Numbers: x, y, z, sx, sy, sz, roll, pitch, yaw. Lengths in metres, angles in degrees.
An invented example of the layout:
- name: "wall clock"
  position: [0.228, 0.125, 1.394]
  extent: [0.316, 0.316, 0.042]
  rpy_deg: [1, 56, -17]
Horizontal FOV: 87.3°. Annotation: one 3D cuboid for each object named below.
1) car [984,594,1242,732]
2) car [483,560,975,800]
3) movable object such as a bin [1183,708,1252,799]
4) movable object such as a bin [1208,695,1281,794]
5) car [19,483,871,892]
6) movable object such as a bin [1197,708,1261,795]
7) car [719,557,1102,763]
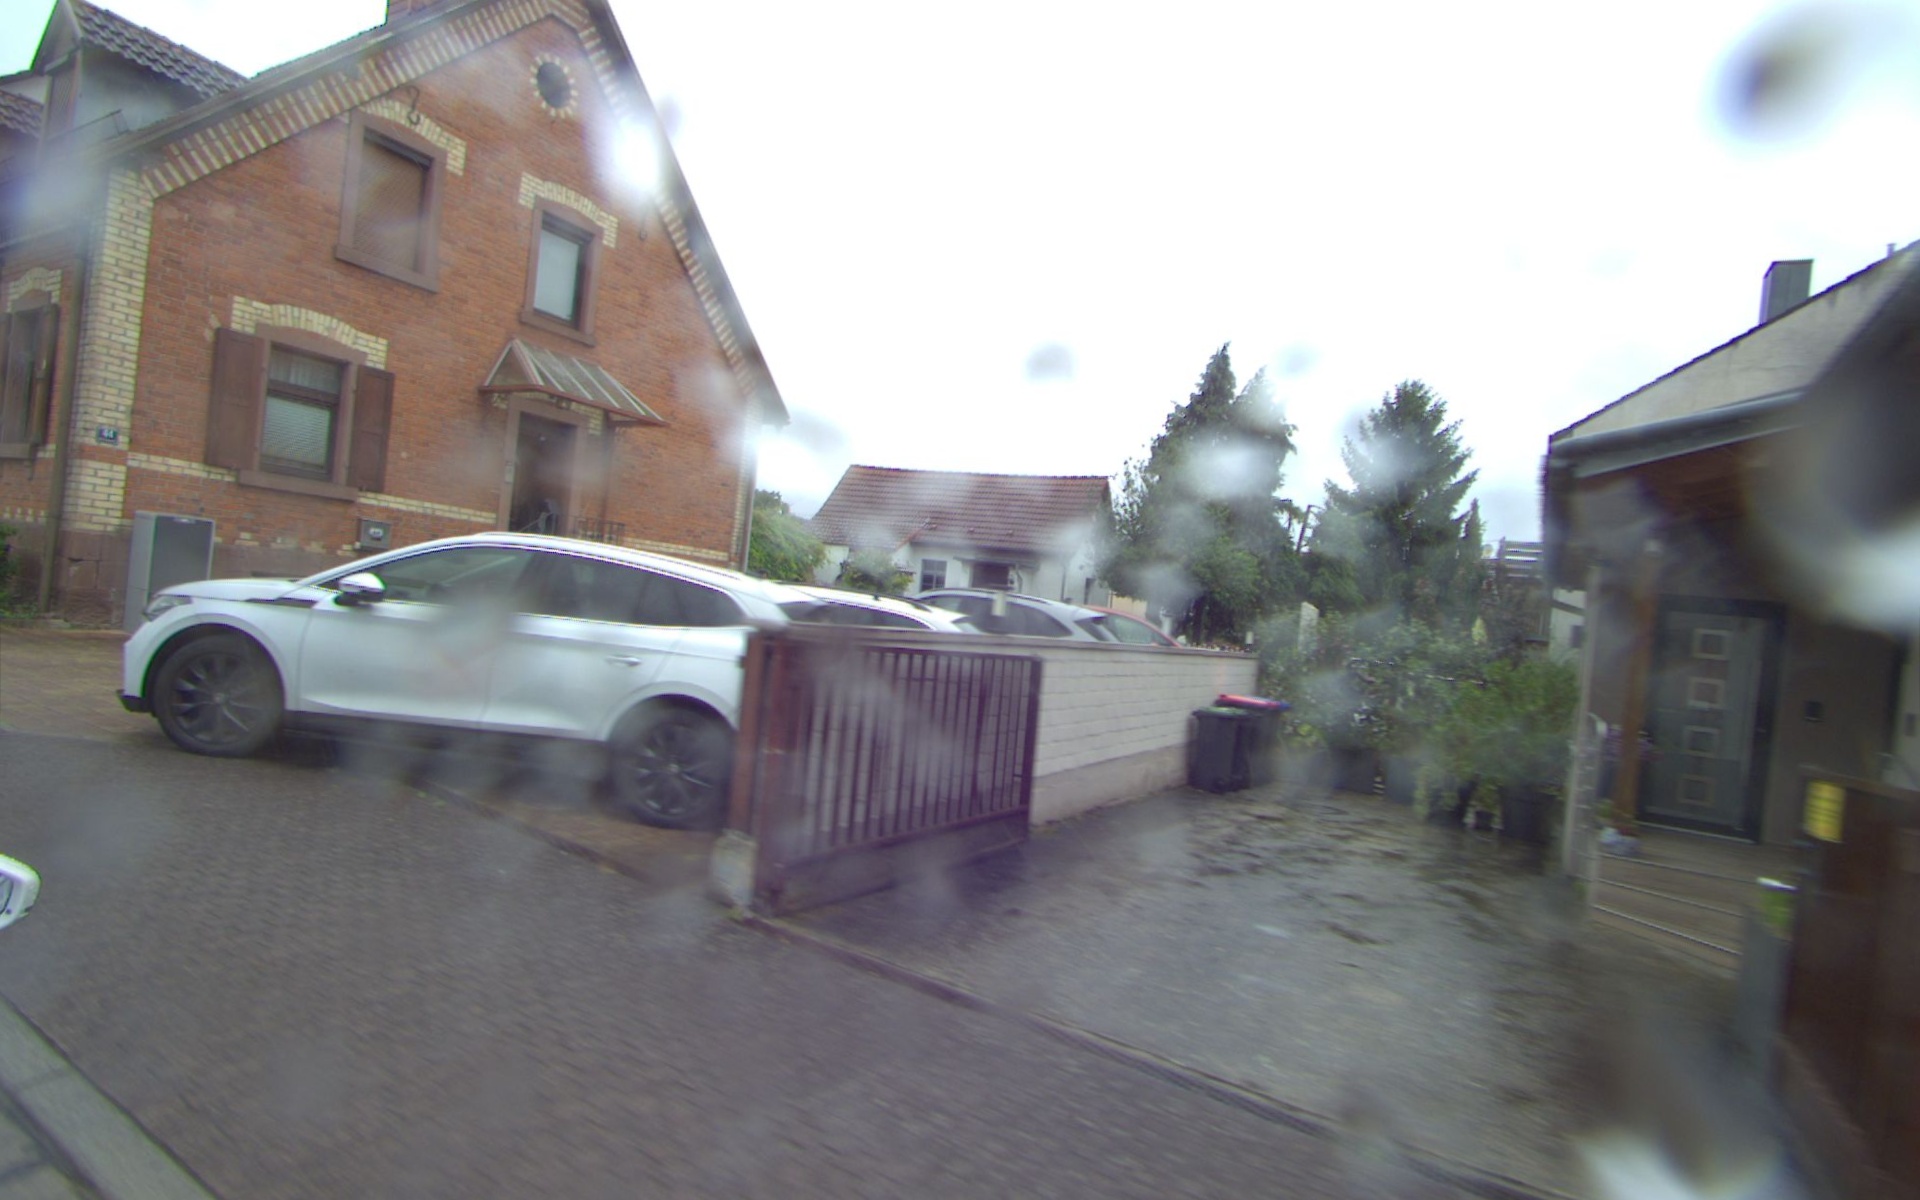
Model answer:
- name: "car"
  position: [2.610, 1.046, 17.312]
  extent: [3.990, 1.665, 1.811]
  rpy_deg: [8, -1, 10]
- name: "car"
  position: [-2.110, 0.706, 9.943]
  extent: [4.211, 1.535, 1.877]
  rpy_deg: [8, 1, 6]
- name: "movable object such as a bin"
  position: [2.914, 1.721, 11.375]
  extent: [0.530, 0.909, 0.557]
  rpy_deg: [8, 0, 29]
- name: "movable object such as a bin"
  position: [3.463, 1.736, 12.235]
  extent: [0.633, 1.072, 0.522]
  rpy_deg: [8, 0, 28]
- name: "car"
  position: [-3.036, 0.530, 6.730]
  extent: [4.536, 1.608, 1.877]
  rpy_deg: [10, -1, -1]
- name: "movable object such as a bin"
  position: [3.160, 1.767, 11.818]
  extent: [0.530, 0.909, 0.420]
  rpy_deg: [8, 0, 29]
- name: "car"
  position: [-0.494, 0.623, 12.098]
  extent: [4.140, 1.698, 1.809]
  rpy_deg: [8, 3, 9]
